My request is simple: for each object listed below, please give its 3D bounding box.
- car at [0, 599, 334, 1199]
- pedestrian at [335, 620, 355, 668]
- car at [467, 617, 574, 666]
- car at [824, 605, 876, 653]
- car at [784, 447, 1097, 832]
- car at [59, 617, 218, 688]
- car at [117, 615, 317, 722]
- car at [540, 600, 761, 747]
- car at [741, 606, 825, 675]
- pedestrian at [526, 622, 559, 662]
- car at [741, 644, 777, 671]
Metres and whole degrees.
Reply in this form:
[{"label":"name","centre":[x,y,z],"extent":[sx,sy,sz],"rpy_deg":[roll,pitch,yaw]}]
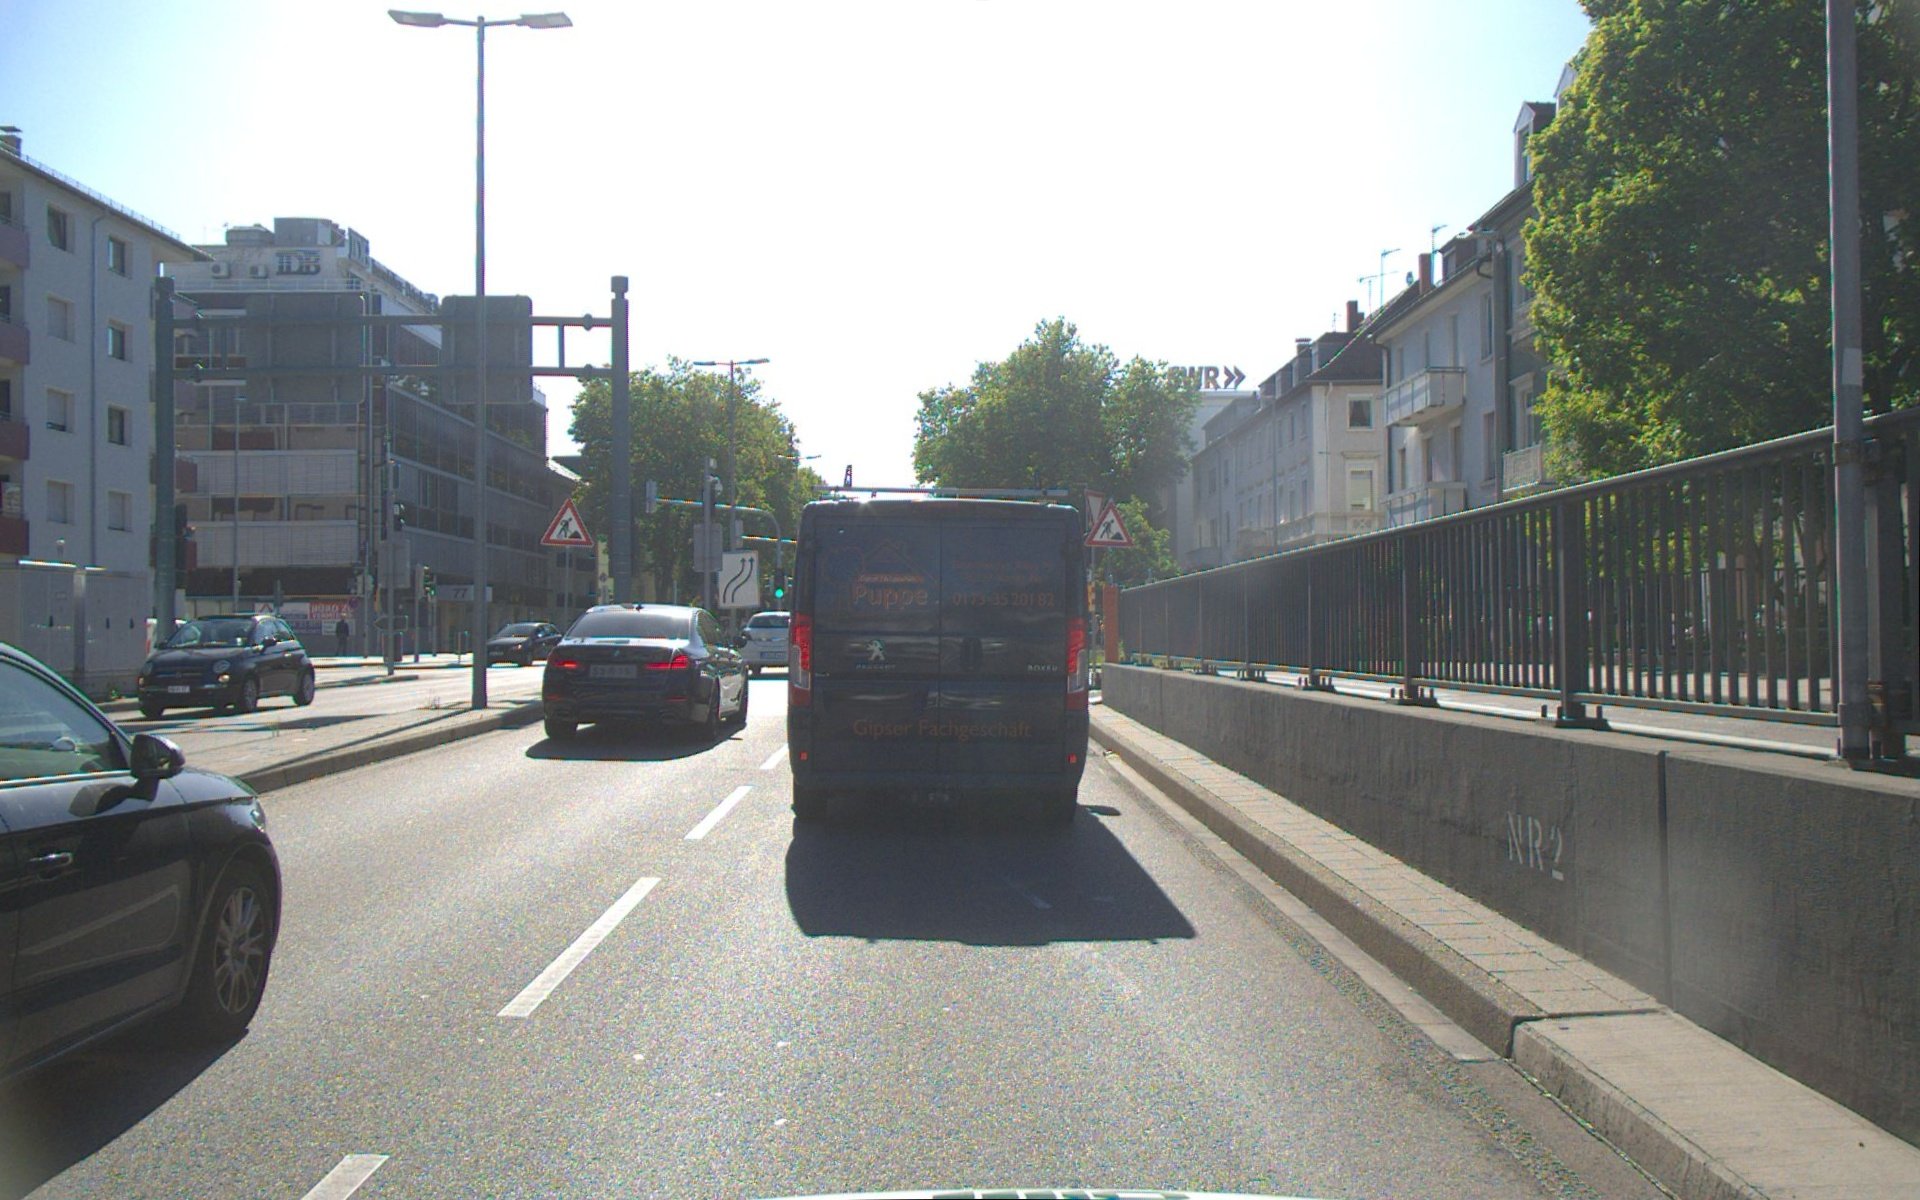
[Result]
[{"label":"car","centre":[-3.133,0.714,4.224],"extent":[1.661,1.443,3.886],"rpy_deg":[1,0,-2]},{"label":"pedestrian","centre":[-25.296,1.798,68.041],"extent":[0.647,1.929,0.720],"rpy_deg":[1,-1,-14]},{"label":"car","centre":[-14.901,1.382,56.321],"extent":[1.895,1.582,3.926],"rpy_deg":[1,-1,12]},{"label":"car","centre":[-3.741,0.971,56.671],"extent":[1.655,1.509,3.317],"rpy_deg":[1,0,-2]},{"label":"car","centre":[-0.160,0.272,12.538],"extent":[1.989,2.444,3.971],"rpy_deg":[0,-1,-1]},{"label":"car","centre":[-17.539,1.086,35.495],"extent":[1.642,1.434,3.614],"rpy_deg":[0,-1,-1]},{"label":"car","centre":[-11.478,1.009,25.784],"extent":[1.559,1.470,3.494],"rpy_deg":[-3,0,-2]},{"label":"car","centre":[-3.463,0.767,19.404],"extent":[1.772,1.464,5.000],"rpy_deg":[1,0,-2]},{"label":"car","centre":[-4.015,0.894,37.997],"extent":[1.586,1.428,3.851],"rpy_deg":[1,1,-2]},{"label":"pedestrian","centre":[-20.640,2.077,81.782],"extent":[1.305,1.965,1.025],"rpy_deg":[1,-1,-1]},{"label":"car","centre":[-12.991,3.702,107.043],"extent":[1.897,1.582,3.922],"rpy_deg":[1,-1,-1]}]
